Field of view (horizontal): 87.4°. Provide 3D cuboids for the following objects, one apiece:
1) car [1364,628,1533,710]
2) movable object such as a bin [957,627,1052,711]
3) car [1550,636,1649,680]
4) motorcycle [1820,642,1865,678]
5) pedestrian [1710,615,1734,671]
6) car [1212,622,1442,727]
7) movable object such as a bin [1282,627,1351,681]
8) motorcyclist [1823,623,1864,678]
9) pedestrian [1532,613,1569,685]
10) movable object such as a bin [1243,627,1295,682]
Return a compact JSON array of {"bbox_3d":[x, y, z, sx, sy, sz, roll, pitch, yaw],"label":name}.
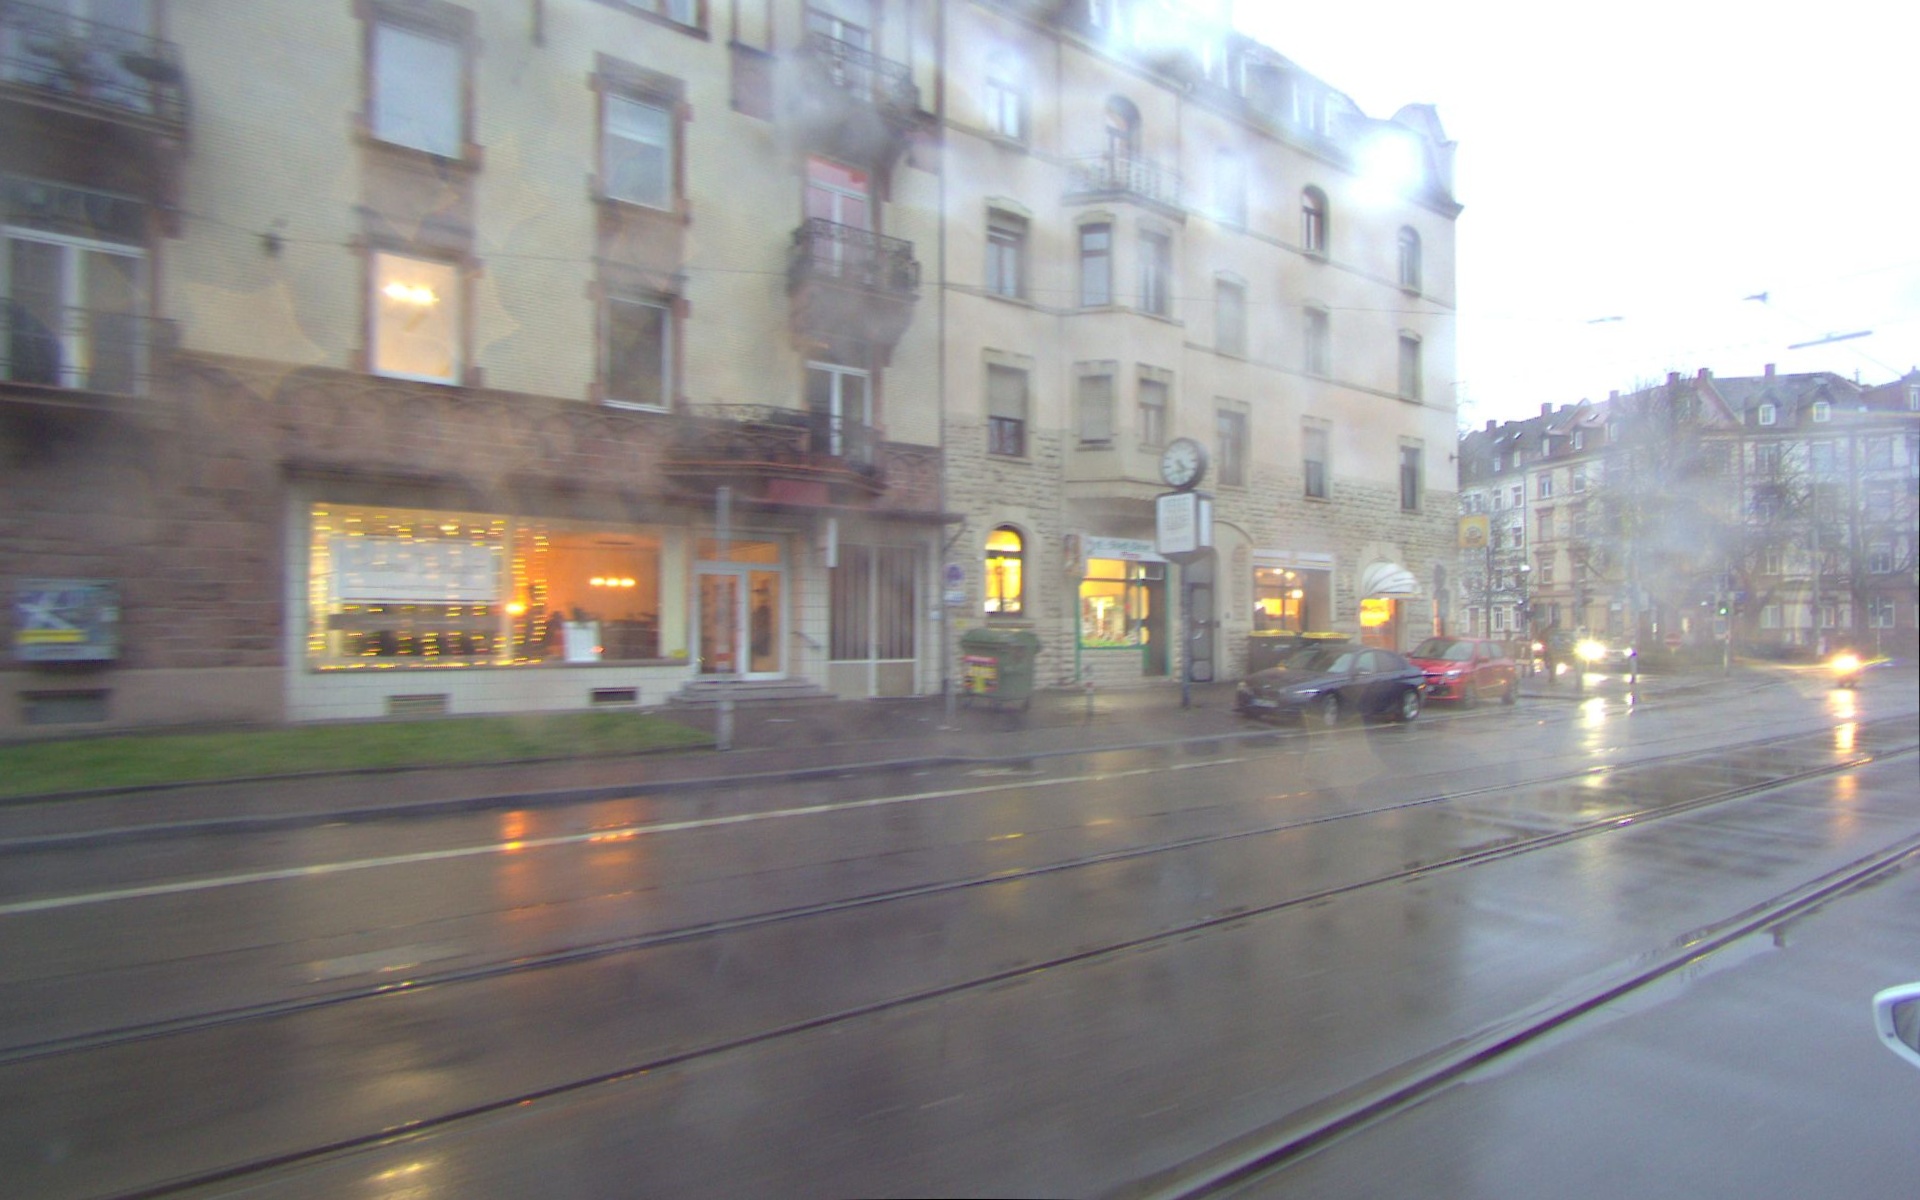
[{"bbox_3d":[11.352,1.505,23.255,3.998,1.573,2.020,1,2,-40],"label":"car"},{"bbox_3d":[0.800,1.217,18.283,1.237,1.439,1.260,1,-1,-34],"label":"movable object such as a bin"},{"bbox_3d":[26.685,2.400,42.097,1.981,1.695,4.003,0,-1,8],"label":"car"},{"bbox_3d":[25.626,1.723,29.156,0.847,1.005,1.907,-1,-2,45],"label":"motorcycle"},{"bbox_3d":[28.433,1.598,37.485,0.695,2.040,0.658,-1,-2,36],"label":"pedestrian"},{"bbox_3d":[7.164,1.367,19.435,4.589,1.667,1.971,2,2,-38],"label":"car"},{"bbox_3d":[9.533,1.427,26.891,1.240,1.385,1.285,1,-1,-35],"label":"movable object such as a bin"},{"bbox_3d":[25.649,1.447,29.164,0.835,1.569,1.008,-1,-2,45],"label":"motorcyclist"},{"bbox_3d":[16.864,1.394,28.700,0.635,2.040,0.758,1,-1,2],"label":"pedestrian"},{"bbox_3d":[8.129,1.418,26.457,0.996,1.396,0.893,1,-1,-35],"label":"movable object such as a bin"}]
